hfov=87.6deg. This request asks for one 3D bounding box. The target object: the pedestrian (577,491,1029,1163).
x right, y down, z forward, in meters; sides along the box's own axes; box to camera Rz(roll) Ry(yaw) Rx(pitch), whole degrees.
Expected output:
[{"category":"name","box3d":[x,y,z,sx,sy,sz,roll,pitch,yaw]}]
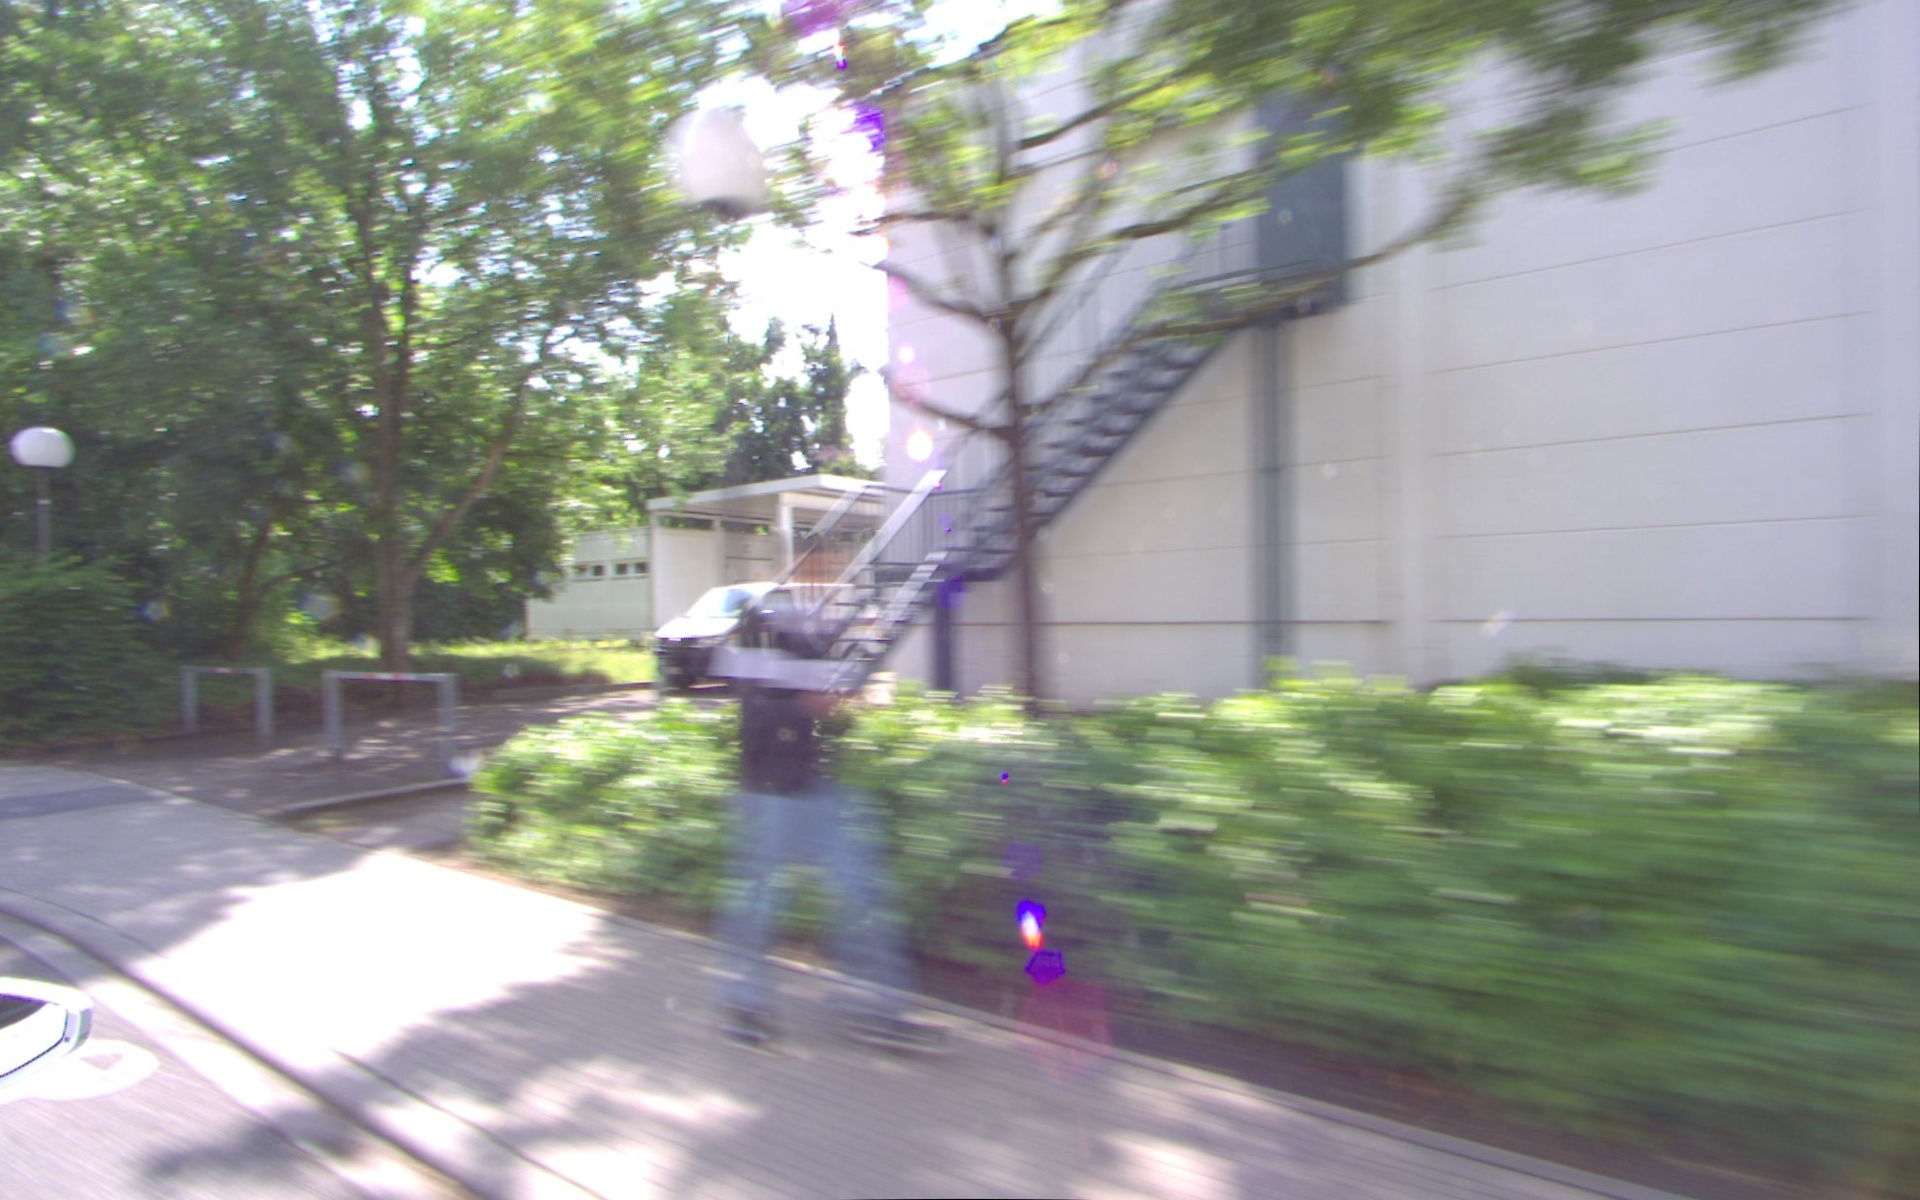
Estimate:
[{"category":"pedestrian","box3d":[-0.506,0.588,3.181,1.239,1.696,0.737,-1,0,33]}]

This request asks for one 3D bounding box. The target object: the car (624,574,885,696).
[{"category":"car","box3d":[-3.793,0.602,19.298,2.035,2.040,4.809,-1,-1,36]}]
